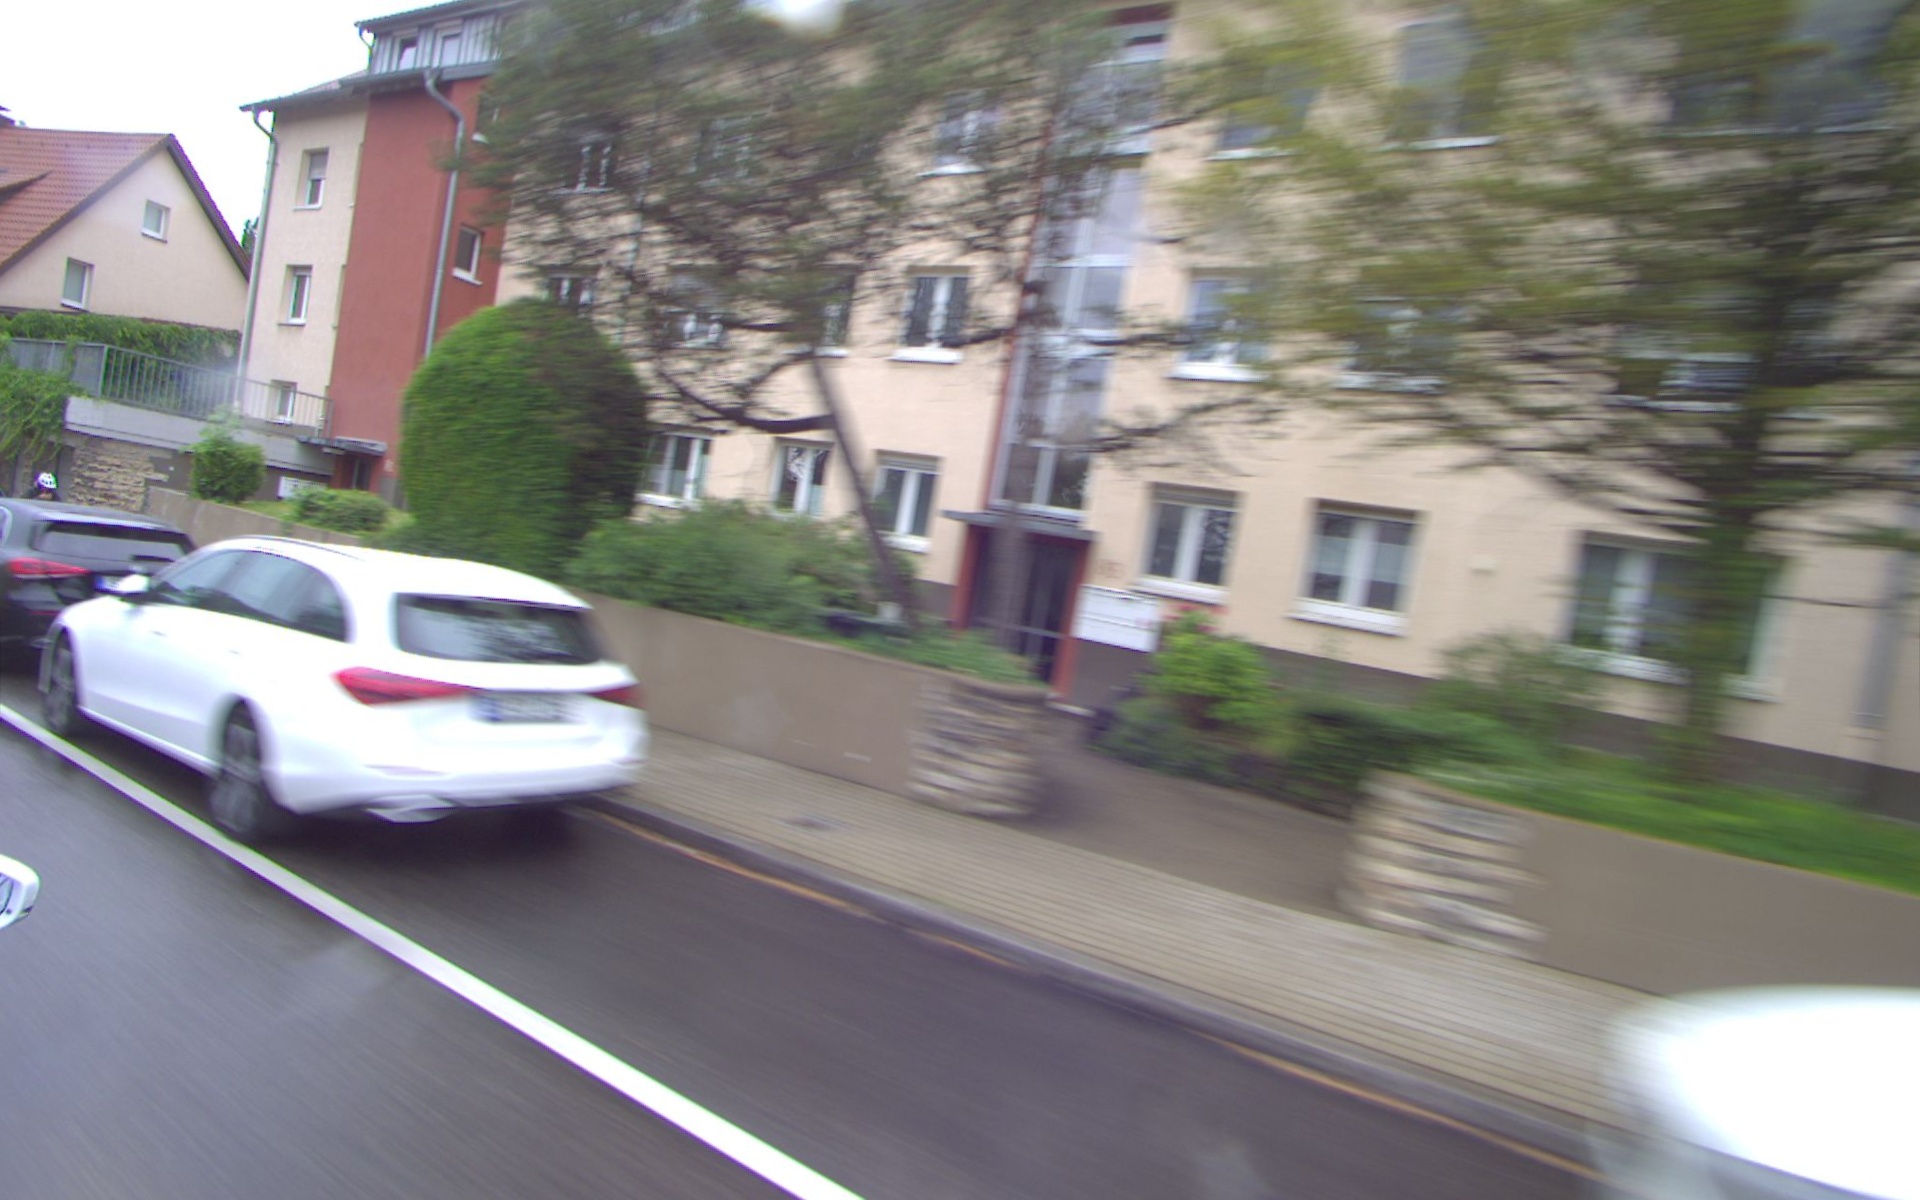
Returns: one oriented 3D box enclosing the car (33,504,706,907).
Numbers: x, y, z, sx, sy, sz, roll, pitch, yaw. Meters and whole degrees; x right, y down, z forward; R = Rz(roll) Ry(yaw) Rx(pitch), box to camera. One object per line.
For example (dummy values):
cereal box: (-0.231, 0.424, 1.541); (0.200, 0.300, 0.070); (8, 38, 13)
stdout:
car: (-3.743, 0.396, 6.138); (4.185, 1.473, 1.808); (8, 1, 34)

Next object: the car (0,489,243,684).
car: (-8.796, -0.251, 9.623); (4.185, 1.473, 1.690); (8, 1, 34)

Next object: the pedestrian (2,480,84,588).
pedestrian: (-15.195, -1.084, 16.679); (0.603, 1.670, 0.621); (7, 0, 4)

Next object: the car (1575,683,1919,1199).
car: (3.558, 1.218, 1.380); (4.493, 1.455, 1.779); (8, 3, 32)

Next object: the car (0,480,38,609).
car: (-14.199, -0.967, 13.451); (4.185, 1.613, 1.734); (8, 1, 34)
